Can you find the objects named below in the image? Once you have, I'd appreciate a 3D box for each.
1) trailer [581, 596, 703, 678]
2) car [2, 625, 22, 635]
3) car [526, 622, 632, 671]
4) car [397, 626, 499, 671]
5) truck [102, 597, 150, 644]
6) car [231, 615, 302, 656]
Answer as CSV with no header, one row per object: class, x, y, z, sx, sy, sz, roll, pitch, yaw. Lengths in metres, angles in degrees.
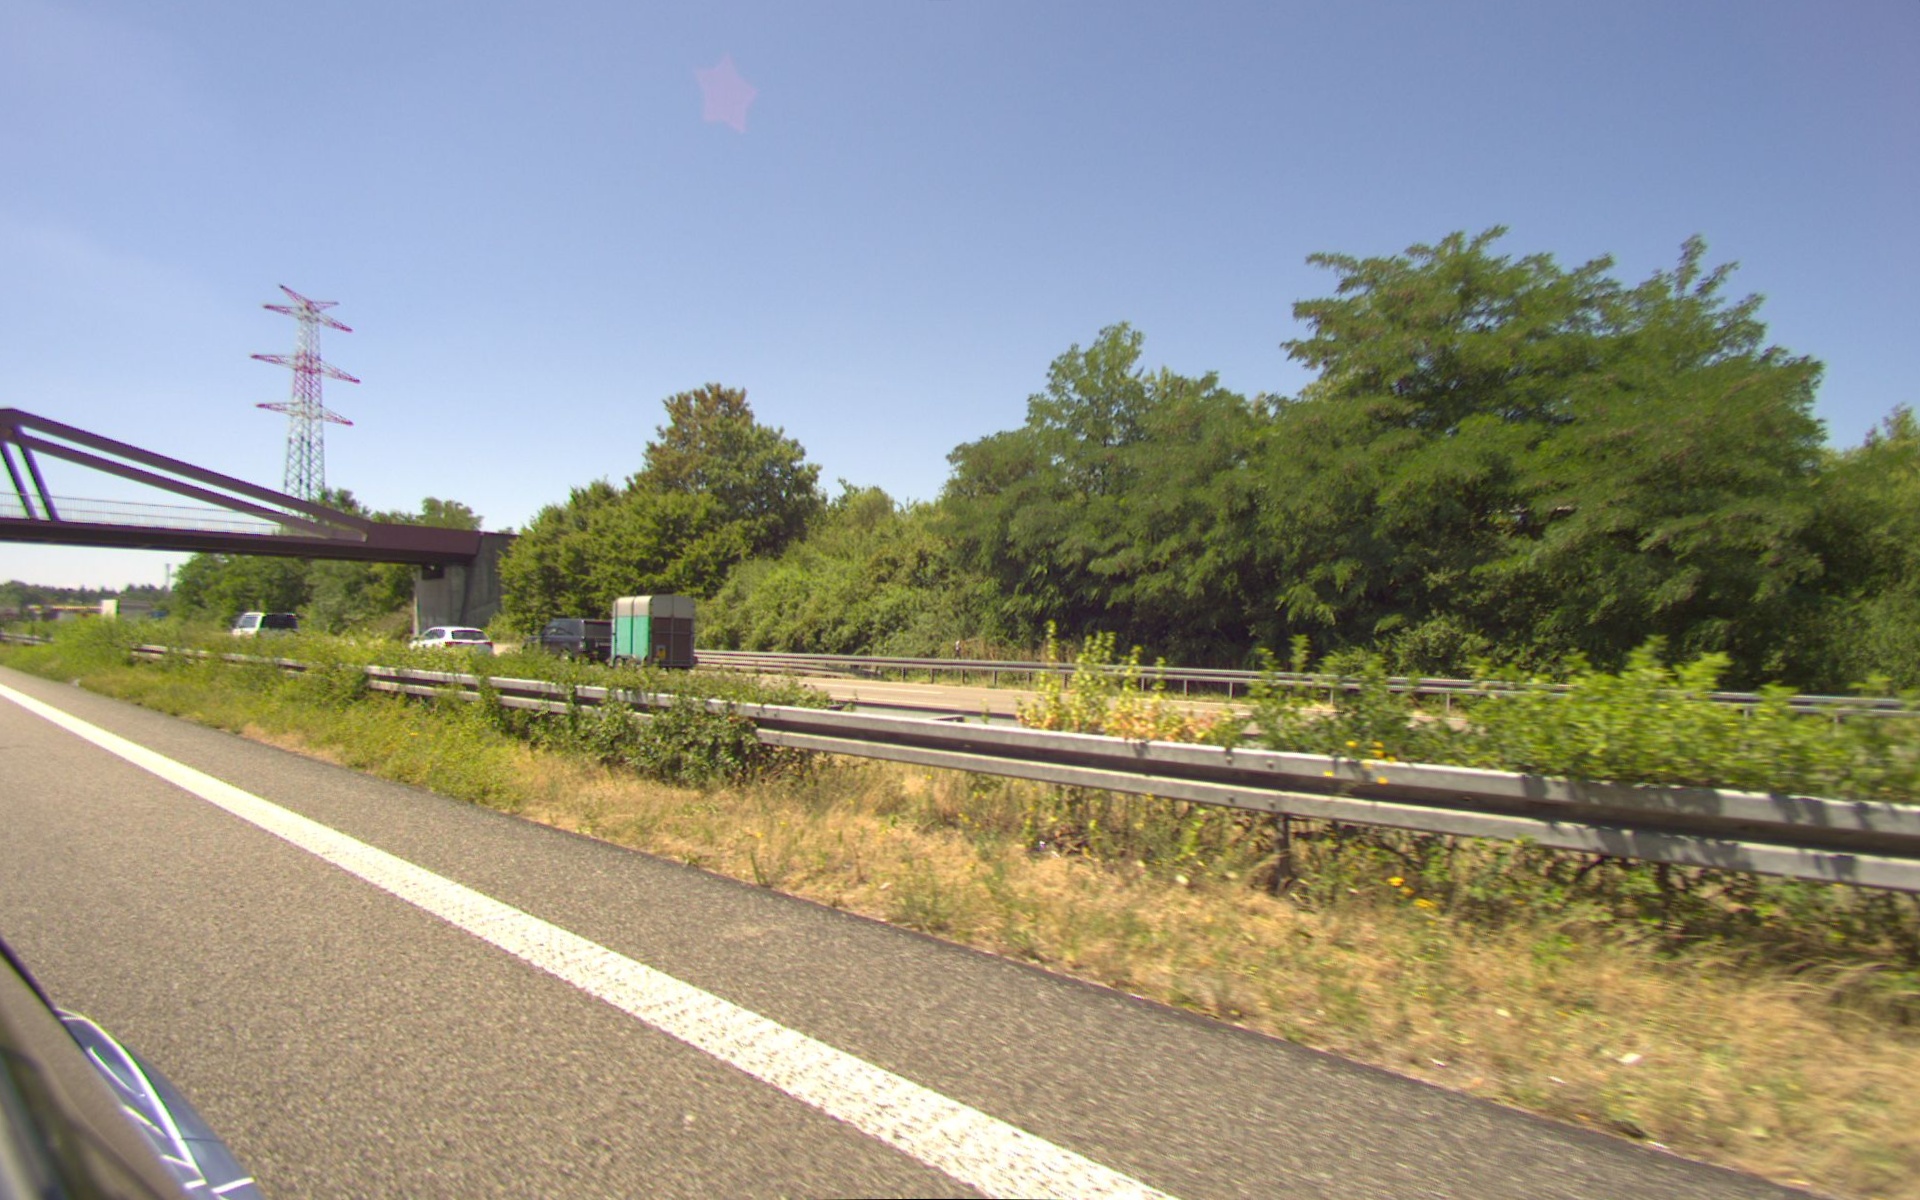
trailer,-10.622,1.220,33.733,4.182,2.538,1.973,-1,-3,41
car,-142.627,4.538,152.253,3.998,1.495,1.761,-1,-3,41
car,-13.734,1.635,36.391,3.998,1.644,1.867,-1,-3,41
car,-17.562,1.622,34.627,3.998,1.446,1.733,-1,-3,41
truck,-76.728,1.903,93.092,5.591,4.259,2.411,-1,-2,41
car,-33.291,1.677,48.564,3.998,1.857,1.868,-1,0,41
